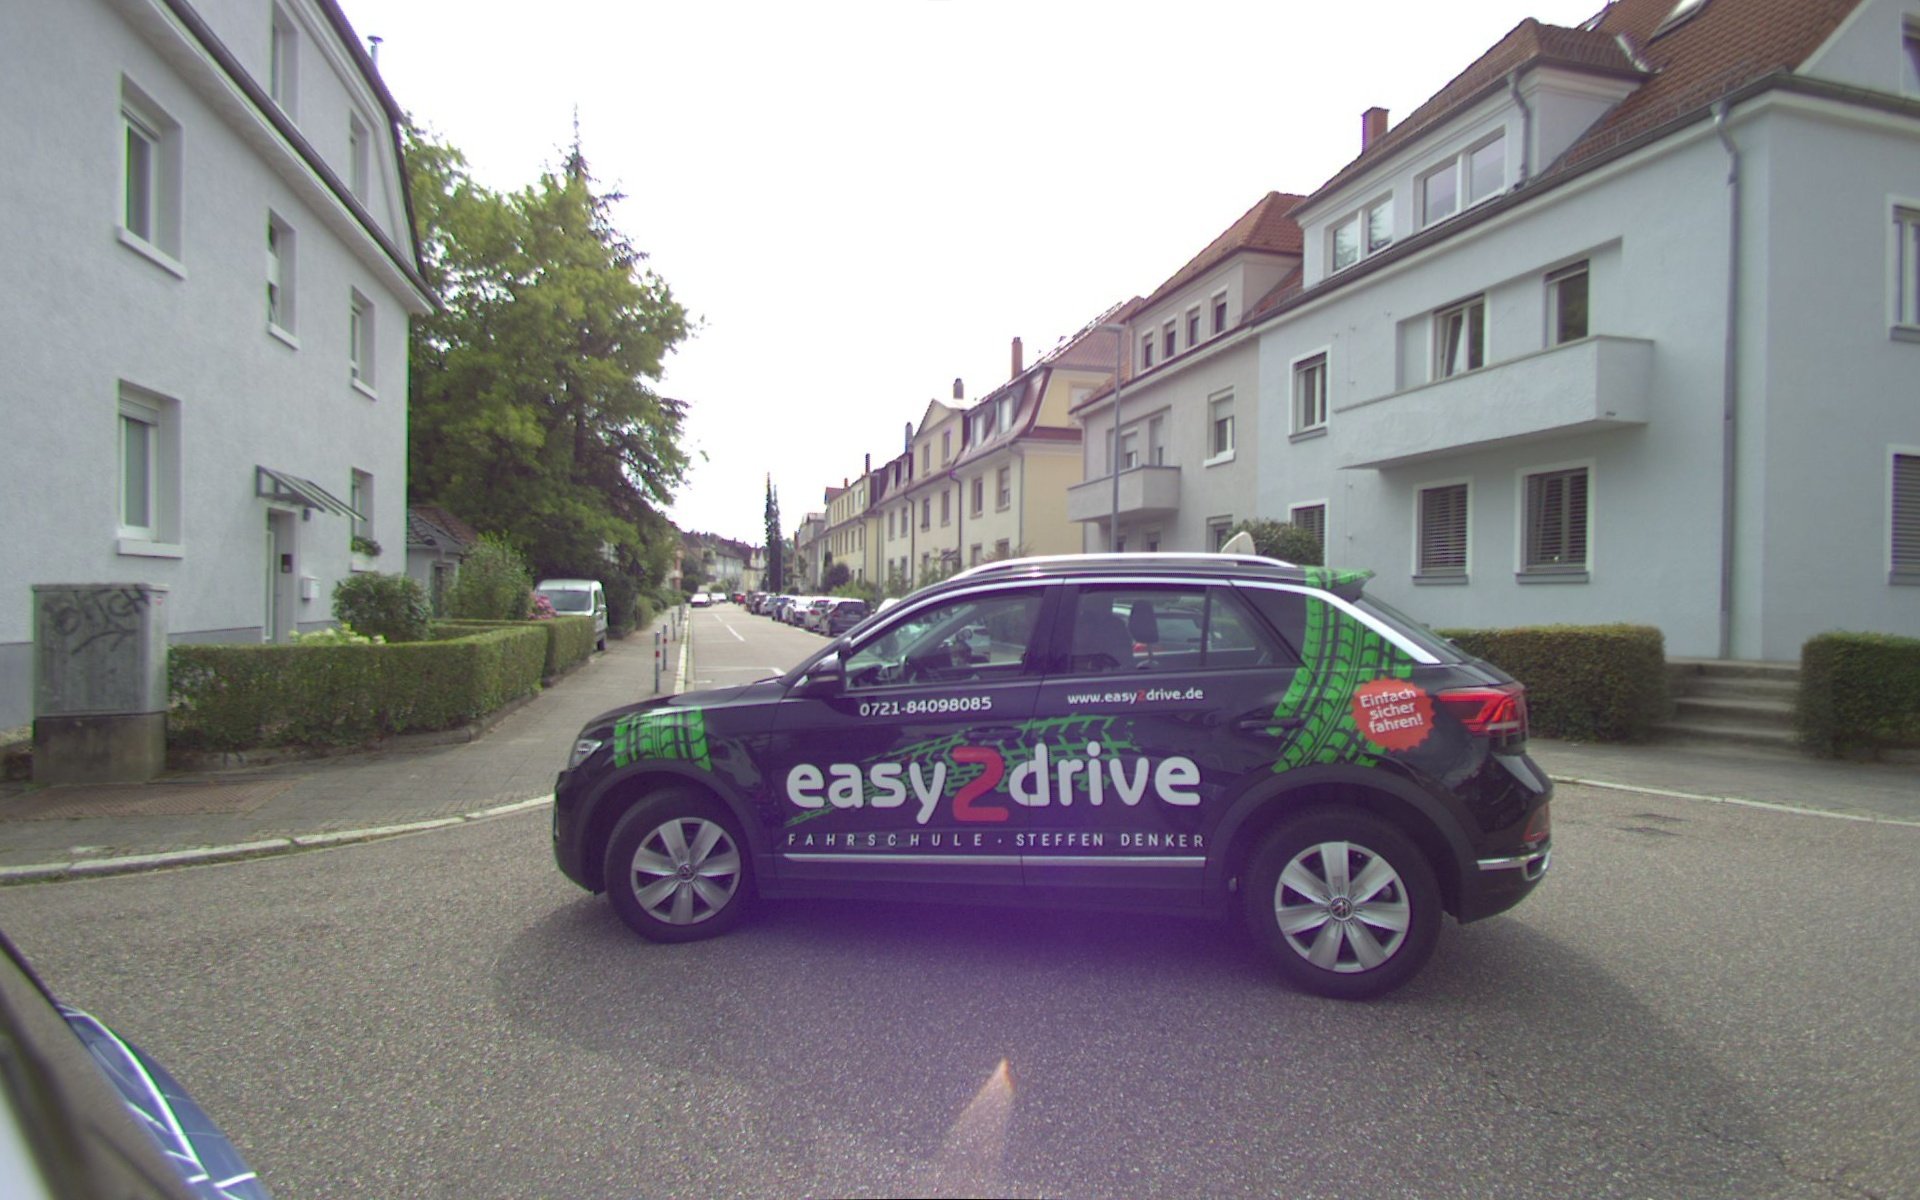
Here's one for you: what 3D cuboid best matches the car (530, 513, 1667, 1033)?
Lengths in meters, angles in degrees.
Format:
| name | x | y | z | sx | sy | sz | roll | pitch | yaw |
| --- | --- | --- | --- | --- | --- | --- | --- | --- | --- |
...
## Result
| name | x | y | z | sx | sy | sz | roll | pitch | yaw |
| --- | --- | --- | --- | --- | --- | --- | --- | --- | --- |
| car | 0.397 | 0.561 | 4.446 | 4.007 | 1.531 | 1.812 | -1 | -1 | 17 |

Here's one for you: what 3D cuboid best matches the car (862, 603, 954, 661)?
| name | x | y | z | sx | sy | sz | roll | pitch | yaw |
| --- | --- | --- | --- | --- | --- | --- | --- | --- | --- |
| car | -1.548 | 0.841 | 28.407 | 1.829 | 1.482 | 4.186 | 1 | 0 | -13 |

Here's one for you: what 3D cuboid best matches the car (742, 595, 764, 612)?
| name | x | y | z | sx | sy | sz | roll | pitch | yaw |
| --- | --- | --- | --- | --- | --- | --- | --- | --- | --- |
| car | -19.896 | 0.338 | 97.080 | 1.828 | 1.590 | 4.187 | 1 | 0 | -15 |

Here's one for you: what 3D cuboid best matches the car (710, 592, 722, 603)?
| name | x | y | z | sx | sy | sz | roll | pitch | yaw |
| --- | --- | --- | --- | --- | --- | --- | --- | --- | --- |
| car | -45.177 | -0.448 | 187.244 | 1.967 | 2.139 | 4.009 | 1 | 0 | -11 |

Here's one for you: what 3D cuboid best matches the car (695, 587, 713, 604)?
| name | x | y | z | sx | sy | sz | roll | pitch | yaw |
| --- | --- | --- | --- | --- | --- | --- | --- | --- | --- |
| car | -32.364 | -0.571 | 128.010 | 1.967 | 2.029 | 4.010 | 1 | 0 | -13 |

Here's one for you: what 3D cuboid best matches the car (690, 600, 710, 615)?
| name | x | y | z | sx | sy | sz | roll | pitch | yaw |
| --- | --- | --- | --- | --- | --- | --- | --- | --- | --- |
| car | -29.721 | 0.837 | 115.675 | 1.967 | 1.652 | 4.009 | 1 | 0 | -11 |

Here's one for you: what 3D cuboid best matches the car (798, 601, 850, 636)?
| name | x | y | z | sx | sy | sz | roll | pitch | yaw |
| --- | --- | --- | --- | --- | --- | --- | --- | --- | --- |
| car | -6.097 | 0.806 | 45.046 | 1.829 | 1.482 | 4.186 | 1 | 0 | -13 |

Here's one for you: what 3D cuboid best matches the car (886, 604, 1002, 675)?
| name | x | y | z | sx | sy | sz | roll | pitch | yaw |
| --- | --- | --- | --- | --- | --- | --- | --- | --- | --- |
| car | -0.477 | 0.854 | 23.710 | 1.829 | 1.482 | 4.186 | 1 | 0 | -13 |

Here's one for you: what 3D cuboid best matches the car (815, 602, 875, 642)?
| name | x | y | z | sx | sy | sz | roll | pitch | yaw |
| --- | --- | --- | --- | --- | --- | --- | --- | --- | --- |
| car | -4.587 | 0.815 | 39.888 | 1.829 | 1.482 | 4.186 | 1 | 0 | -13 |

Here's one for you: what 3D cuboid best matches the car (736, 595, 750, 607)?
| name | x | y | z | sx | sy | sz | roll | pitch | yaw |
| --- | --- | --- | --- | --- | --- | --- | --- | --- | --- |
| car | -29.300 | 0.194 | 136.623 | 1.829 | 1.590 | 4.186 | 1 | 0 | -13 |

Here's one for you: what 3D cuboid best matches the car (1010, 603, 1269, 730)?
| name | x | y | z | sx | sy | sz | roll | pitch | yaw |
| --- | --- | --- | --- | --- | --- | --- | --- | --- | --- |
| car | 2.307 | 0.796 | 14.240 | 1.828 | 1.482 | 4.188 | 1 | 0 | -18 |

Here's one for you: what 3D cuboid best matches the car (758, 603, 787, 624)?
| name | x | y | z | sx | sy | sz | roll | pitch | yaw |
| --- | --- | --- | --- | --- | --- | --- | --- | --- | --- |
| car | -13.611 | 0.957 | 73.356 | 1.829 | 1.482 | 4.186 | 1 | 0 | -13 |

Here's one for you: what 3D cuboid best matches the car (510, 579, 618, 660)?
| name | x | y | z | sx | sy | sz | roll | pitch | yaw |
| --- | --- | --- | --- | --- | --- | --- | --- | --- | --- |
| car | -9.833 | 0.462 | 25.441 | 1.967 | 1.851 | 4.010 | 1 | 0 | -13 |

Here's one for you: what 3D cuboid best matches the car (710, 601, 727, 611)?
| name | x | y | z | sx | sy | sz | roll | pitch | yaw |
| --- | --- | --- | --- | --- | --- | --- | --- | --- | --- |
| car | -37.709 | 0.937 | 158.030 | 1.969 | 1.548 | 4.006 | -1 | 0 | -6 |

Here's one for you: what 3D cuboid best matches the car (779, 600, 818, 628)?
| name | x | y | z | sx | sy | sz | roll | pitch | yaw |
| --- | --- | --- | --- | --- | --- | --- | --- | --- | --- |
| car | -9.120 | 0.777 | 56.987 | 1.829 | 1.482 | 4.186 | 1 | 0 | -13 |

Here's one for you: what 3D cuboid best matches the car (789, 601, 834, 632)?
| name | x | y | z | sx | sy | sz | roll | pitch | yaw |
| --- | --- | --- | --- | --- | --- | --- | --- | --- | --- |
| car | -7.479 | 0.792 | 50.584 | 1.829 | 1.482 | 4.186 | 1 | 0 | -13 |

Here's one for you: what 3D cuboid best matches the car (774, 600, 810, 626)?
| name | x | y | z | sx | sy | sz | roll | pitch | yaw |
| --- | --- | --- | --- | --- | --- | --- | --- | --- | --- |
| car | -10.214 | 0.767 | 61.225 | 1.829 | 1.482 | 4.186 | 1 | 0 | -13 |

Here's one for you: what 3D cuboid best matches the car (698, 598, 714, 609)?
| name | x | y | z | sx | sy | sz | roll | pitch | yaw |
| --- | --- | --- | --- | --- | --- | --- | --- | --- | --- |
| car | -36.166 | 0.491 | 144.021 | 1.967 | 1.652 | 4.009 | 1 | 0 | -11 |

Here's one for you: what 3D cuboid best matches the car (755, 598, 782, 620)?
| name | x | y | z | sx | sy | sz | roll | pitch | yaw |
| --- | --- | --- | --- | --- | --- | --- | --- | --- | --- |
| car | -14.879 | 0.676 | 78.409 | 1.829 | 1.590 | 4.186 | 1 | 0 | -13 |
